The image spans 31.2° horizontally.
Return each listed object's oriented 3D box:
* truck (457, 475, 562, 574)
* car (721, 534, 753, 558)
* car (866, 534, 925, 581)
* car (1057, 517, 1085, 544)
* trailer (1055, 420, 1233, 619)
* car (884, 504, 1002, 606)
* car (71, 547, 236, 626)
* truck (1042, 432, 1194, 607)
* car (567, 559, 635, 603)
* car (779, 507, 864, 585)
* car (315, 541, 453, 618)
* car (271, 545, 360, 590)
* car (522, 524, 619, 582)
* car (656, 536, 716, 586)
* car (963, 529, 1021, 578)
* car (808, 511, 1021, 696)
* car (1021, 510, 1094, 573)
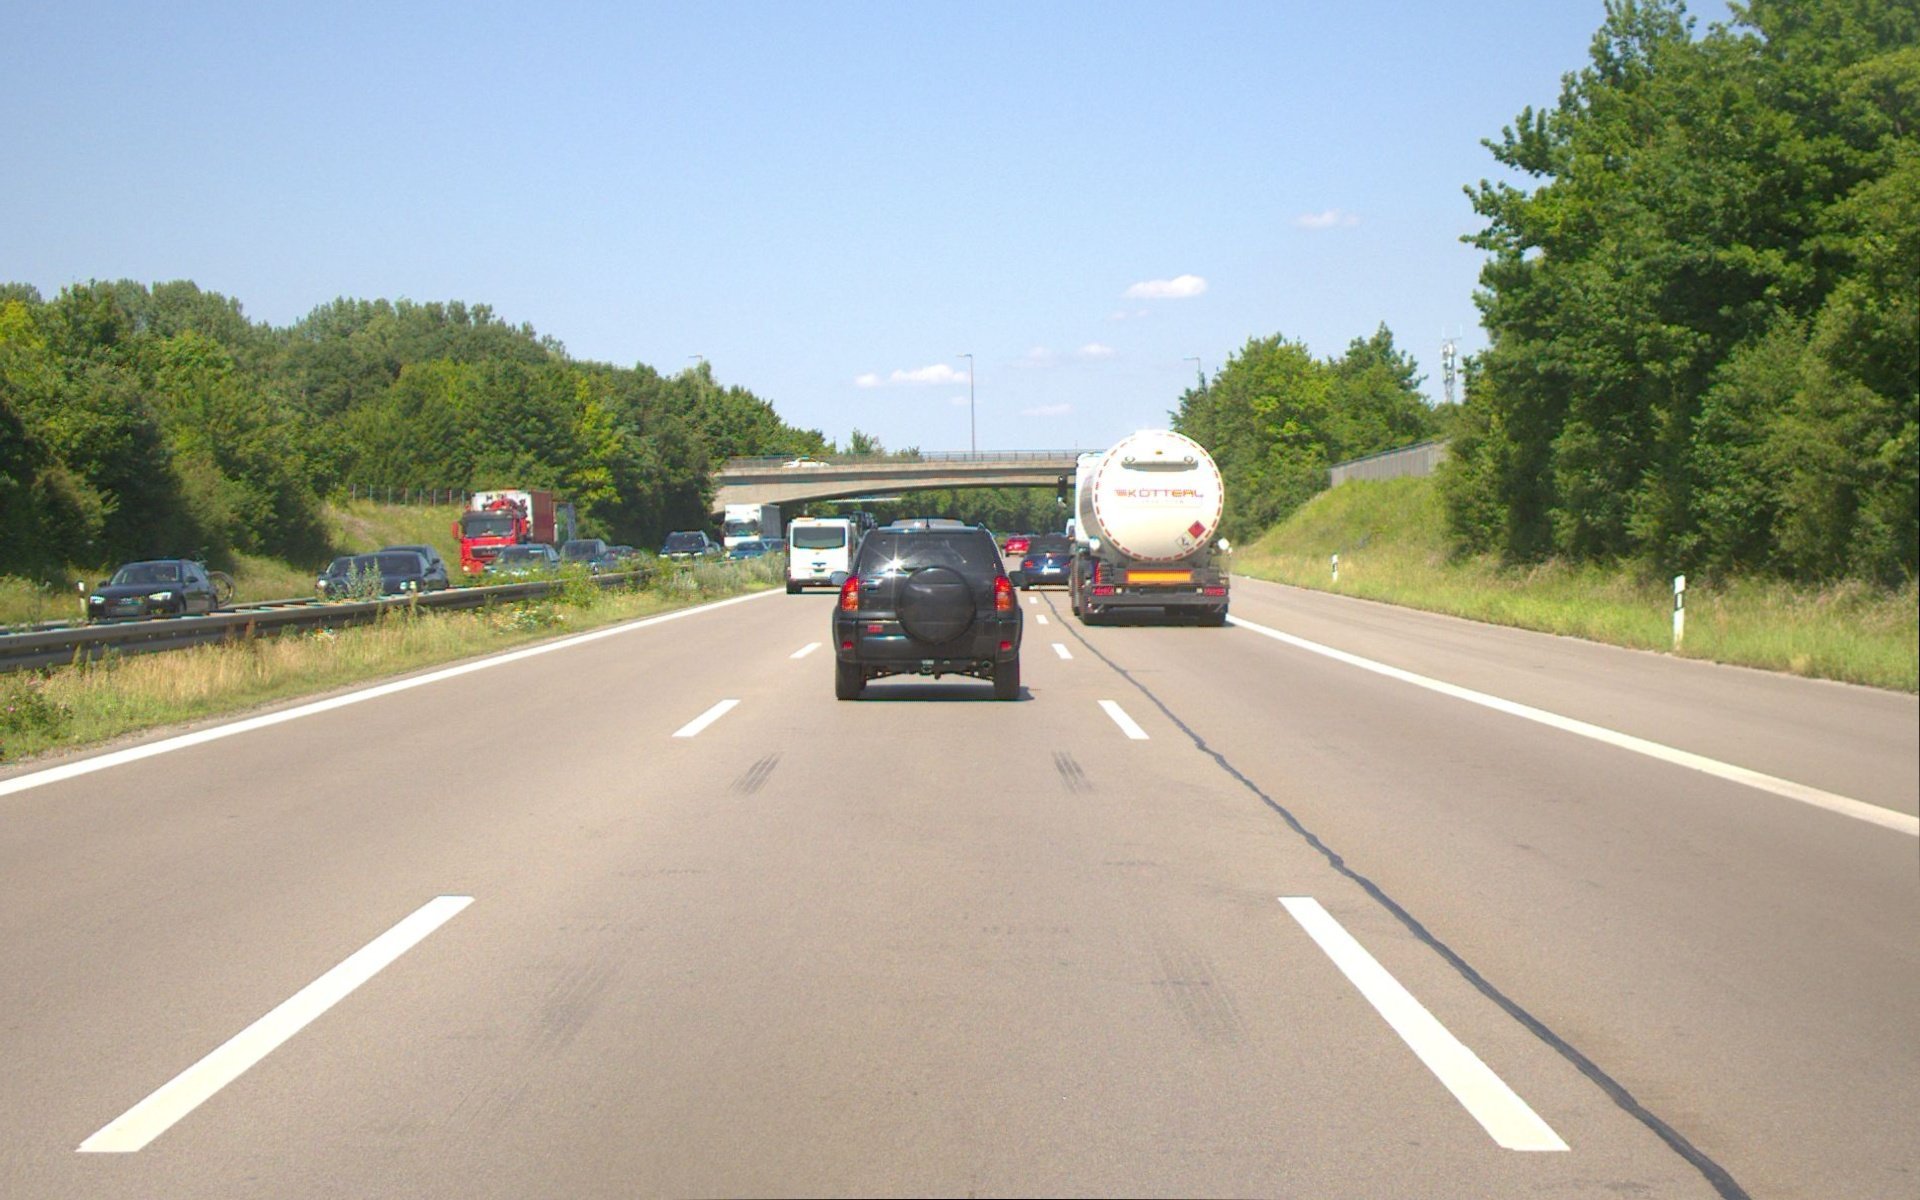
[{"bbox_3d":[-18.156,-3.054,139.130,2.679,3.756,9.919,-2,1,1],"label":"truck"},{"bbox_3d":[-15.528,-3.769,239.388,1.858,1.595,4.721,-1,1,0],"label":"car"},{"bbox_3d":[-2.193,-1.438,117.834,1.993,1.547,4.000,-1,0,-1],"label":"car"},{"bbox_3d":[7.597,-4.749,235.026,1.812,1.740,4.000,-1,1,1],"label":"car"},{"bbox_3d":[3.289,-1.476,64.065,2.648,3.378,11.152,0,1,0],"label":"trailer"},{"bbox_3d":[-0.296,-0.803,61.406,1.993,1.700,4.336,-2,1,0],"label":"car"},{"bbox_3d":[-16.288,-0.301,69.759,1.993,1.470,5.623,-1,1,0],"label":"car"},{"bbox_3d":[3.133,-1.616,69.667,2.638,3.363,6.488,0,1,-1],"label":"truck"},{"bbox_3d":[-11.407,-0.621,109.417,1.668,1.312,4.120,-1,1,1],"label":"car"},{"bbox_3d":[-3.742,-1.475,93.614,1.993,2.007,4.950,-2,1,1],"label":"car"},{"bbox_3d":[-11.809,-0.453,70.718,1.993,1.470,4.831,-1,1,0],"label":"car"},{"bbox_3d":[-19.725,-1.010,105.394,1.747,1.293,5.063,-1,1,0],"label":"car"},{"bbox_3d":[-10.479,-1.290,92.701,1.954,1.478,4.345,-1,1,2],"label":"car"},{"bbox_3d":[-10.760,-1.547,135.165,1.993,1.859,4.899,-1,1,-1],"label":"car"},{"bbox_3d":[1.186,-1.717,127.081,1.994,1.744,4.205,-1,1,2],"label":"car"},{"bbox_3d":[-0.383,-0.001,33.440,1.906,1.659,4.000,-1,1,1],"label":"car"},{"bbox_3d":[2.751,-1.627,96.814,1.993,1.678,4.000,-1,0,2],"label":"car"}]
